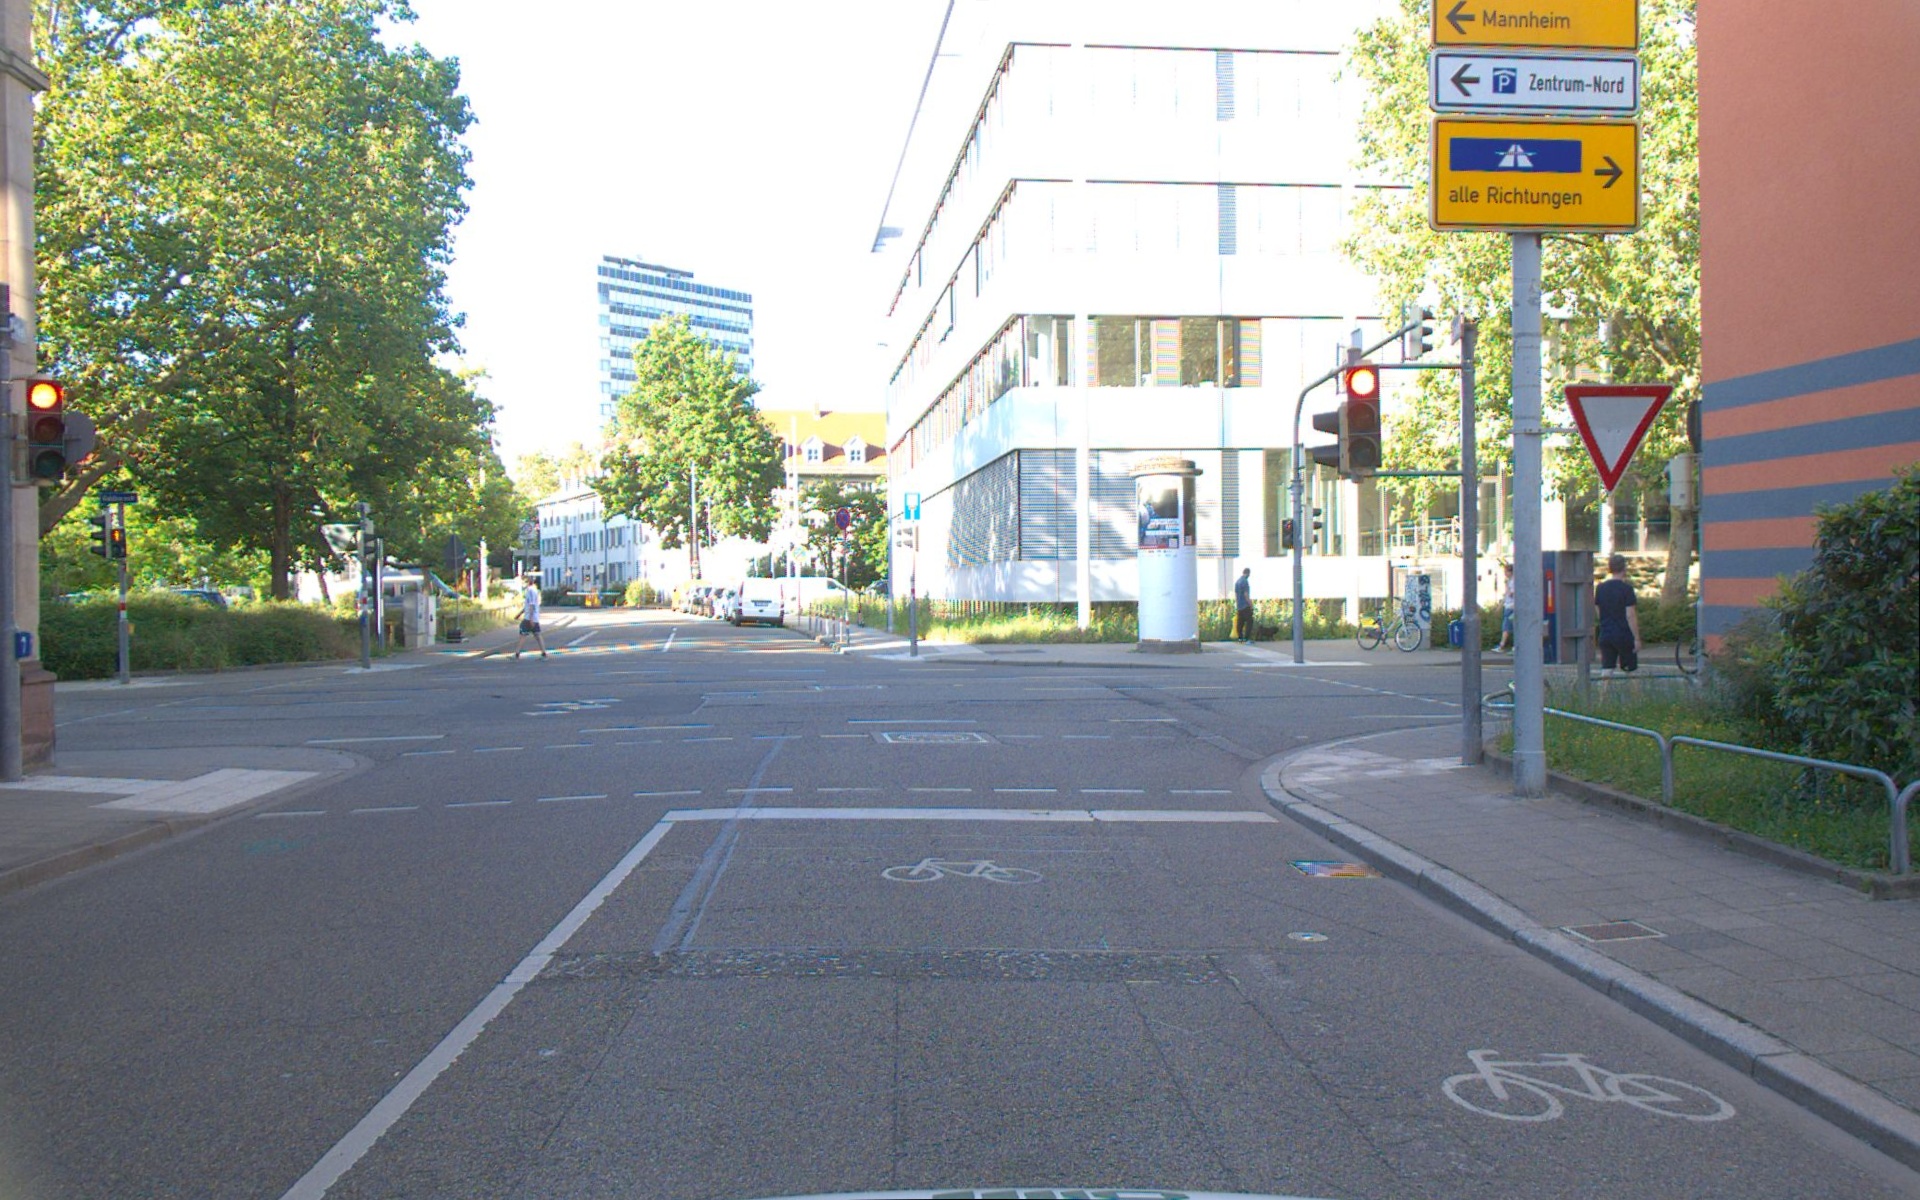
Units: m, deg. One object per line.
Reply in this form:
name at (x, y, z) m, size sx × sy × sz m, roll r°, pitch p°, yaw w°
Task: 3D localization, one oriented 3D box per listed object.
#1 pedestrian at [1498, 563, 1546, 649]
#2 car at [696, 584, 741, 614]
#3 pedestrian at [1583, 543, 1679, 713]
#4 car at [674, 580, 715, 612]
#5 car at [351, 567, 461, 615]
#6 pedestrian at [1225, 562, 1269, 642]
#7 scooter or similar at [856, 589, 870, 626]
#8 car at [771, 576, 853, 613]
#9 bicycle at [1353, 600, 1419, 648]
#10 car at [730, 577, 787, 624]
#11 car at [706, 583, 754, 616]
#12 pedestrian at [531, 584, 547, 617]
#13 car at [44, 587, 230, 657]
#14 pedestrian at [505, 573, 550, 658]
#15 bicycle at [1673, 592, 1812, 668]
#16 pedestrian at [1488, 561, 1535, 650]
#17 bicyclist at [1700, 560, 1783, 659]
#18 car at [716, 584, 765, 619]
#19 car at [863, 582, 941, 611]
pedestrian at (11.529, 0.126, 33.932) m, size 0.749 × 1.749 × 0.648 m, roll 1°, pitch -1°, yaw 2°
car at (-12.546, -0.049, 85.759) m, size 1.959 × 1.525 × 4.637 m, roll 1°, pitch 0°, yaw -13°
pedestrian at (7.435, 0.306, 18.329) m, size 0.711 × 1.842 × 0.693 m, roll 1°, pitch -1°, yaw -34°
car at (-15.378, -0.209, 95.575) m, size 1.960 × 1.755 × 4.635 m, roll 1°, pitch 0°, yaw -14°
car at (-24.958, -0.387, 74.652) m, size 4.363 × 2.049 × 1.995 m, roll 1°, pitch 0°, yaw -10°
pedestrian at (6.762, 0.054, 39.048) m, size 0.895 × 1.847 × 0.762 m, roll 1°, pitch -1°, yaw 1°
scooter or similar at (-3.424, 0.269, 58.206) m, size 0.429 × 1.278 × 1.418 m, roll -1°, pitch 0°, yaw -5°
car at (-9.194, -0.347, 102.767) m, size 4.718 × 2.196 × 1.990 m, roll 1°, pitch 0°, yaw -18°
bicycle at (9.326, 0.509, 36.252) m, size 0.376 × 1.026 × 1.410 m, roll -1°, pitch 0°, yaw -42°
car at (-7.912, 0.017, 64.672) m, size 1.957 × 1.755 × 4.641 m, roll 1°, pitch 0°, yaw -10°
car at (-11.303, -0.007, 81.054) m, size 1.959 × 1.525 × 4.272 m, roll 1°, pitch 0°, yaw -13°
pedestrian at (-20.307, 0.025, 79.739) m, size 0.688 × 1.614 × 0.634 m, roll 1°, pitch -1°, yaw -16°
car at (-18.363, 0.485, 37.035) m, size 3.347 × 1.483 × 1.646 m, roll 1°, pitch 0°, yaw -11°
pedestrian at (-9.781, 0.345, 37.409) m, size 0.897 × 1.901 × 0.741 m, roll 1°, pitch -1°, yaw -10°
bicycle at (12.523, 0.472, 26.497) m, size 1.922 × 1.172 × 0.593 m, roll -1°, pitch 0°, yaw 5°
pedestrian at (11.546, 0.111, 34.637) m, size 0.749 × 1.826 × 0.648 m, roll 1°, pitch -1°, yaw 2°
bicyclist at (12.511, 0.151, 26.504) m, size 1.052 × 1.554 × 0.593 m, roll -1°, pitch 0°, yaw 5°
car at (-10.190, 0.061, 76.622) m, size 1.958 × 1.525 × 4.639 m, roll 1°, pitch 0°, yaw -11°
car at (-3.669, -0.231, 104.693) m, size 4.563 × 1.755 × 1.991 m, roll 1°, pitch 0°, yaw -17°
